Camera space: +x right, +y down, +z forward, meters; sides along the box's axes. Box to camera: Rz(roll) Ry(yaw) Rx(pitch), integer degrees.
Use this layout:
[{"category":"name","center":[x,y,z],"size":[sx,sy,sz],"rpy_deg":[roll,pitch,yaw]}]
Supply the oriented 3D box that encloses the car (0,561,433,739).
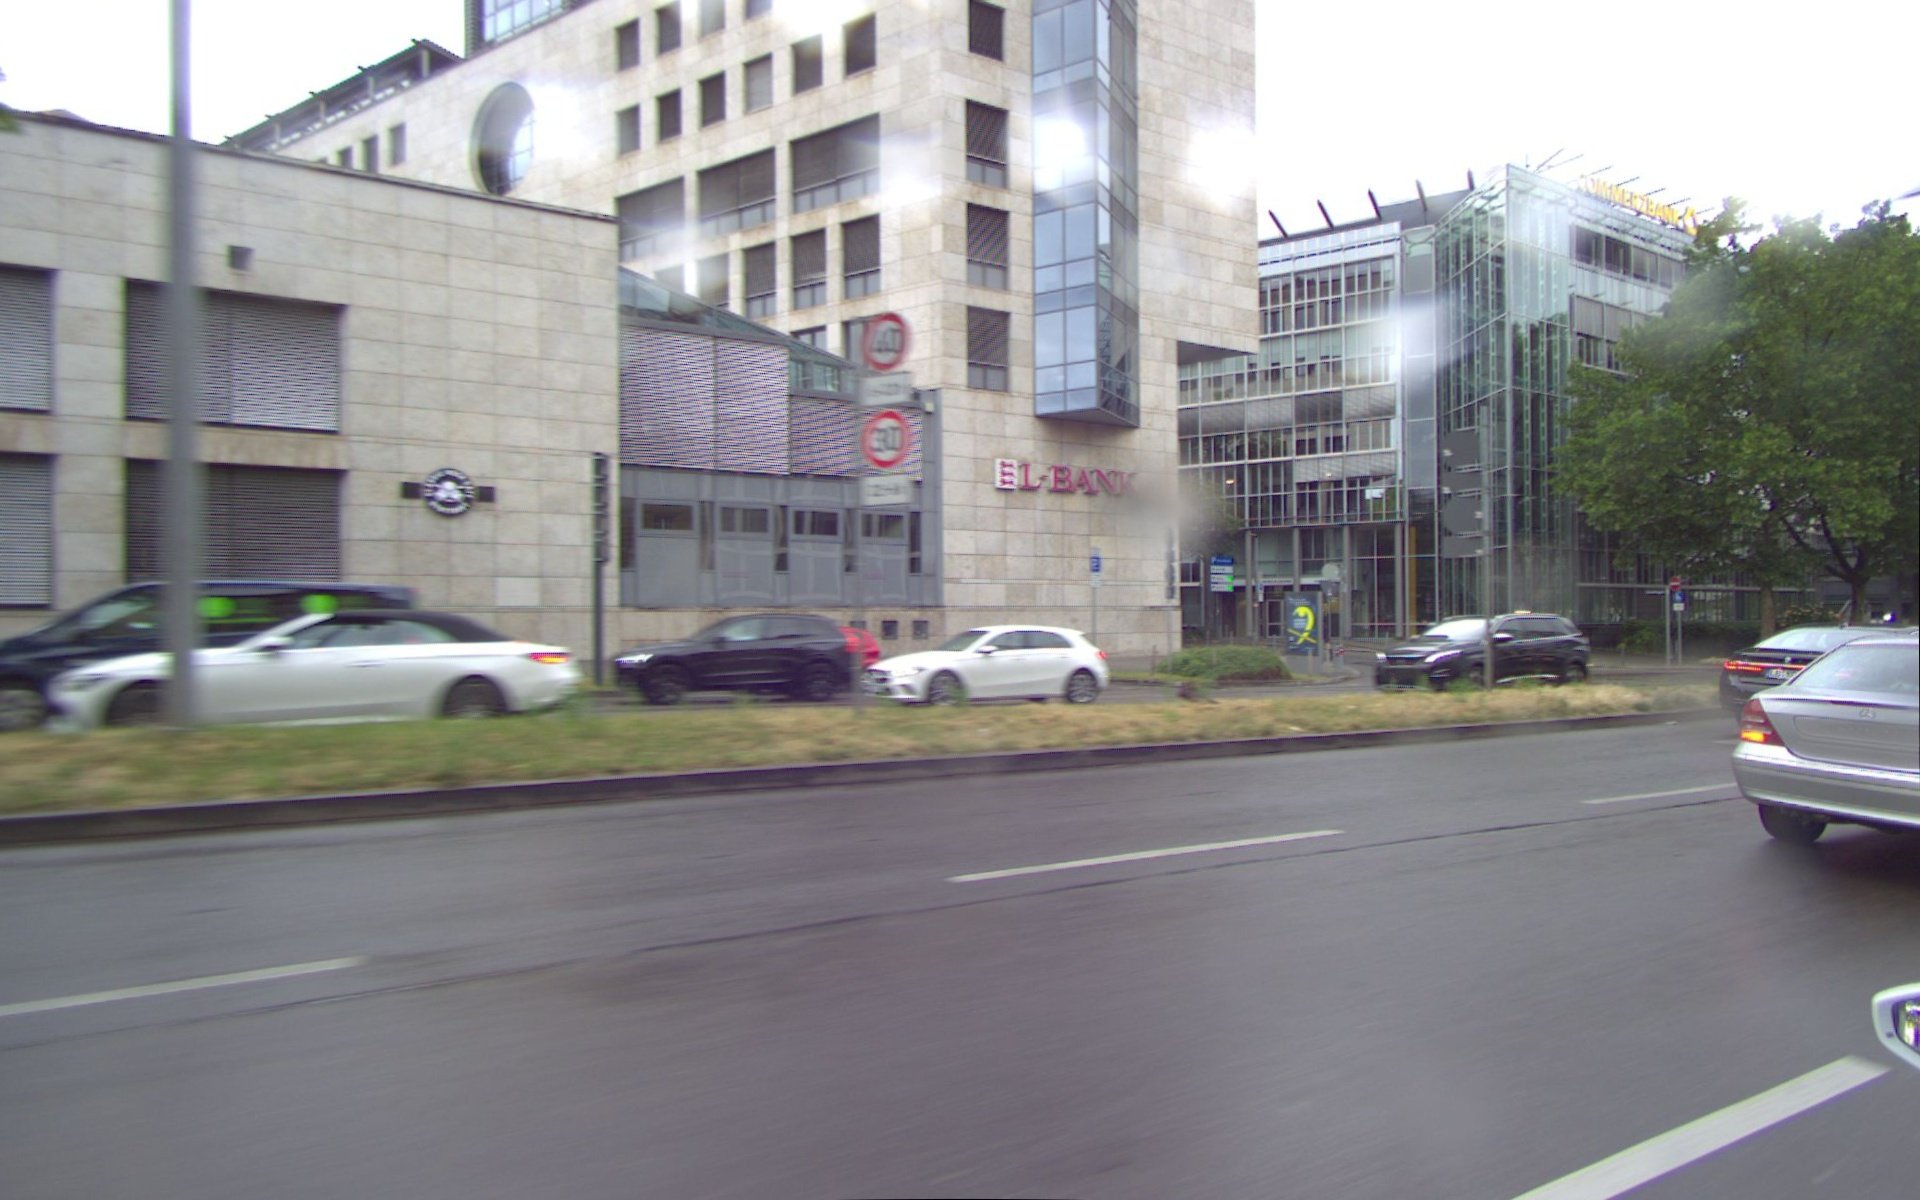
[{"category":"car","center":[-9.769,0.638,13.039],"size":[5.035,2.028,1.826],"rpy_deg":[2,-2,-25]}]

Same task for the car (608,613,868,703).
[{"category":"car","center":[-4.212,1.086,19.150],"size":[4.577,1.552,1.722],"rpy_deg":[2,-2,-25]}]

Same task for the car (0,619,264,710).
[{"category":"car","center":[-14.835,1.073,17.063],"size":[4.639,1.434,1.743],"rpy_deg":[2,-2,-24]}]

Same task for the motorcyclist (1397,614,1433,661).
[{"category":"motorcyclist","center":[12.412,1.018,27.409],"size":[0.611,1.255,0.672],"rpy_deg":[1,-1,-26]}]

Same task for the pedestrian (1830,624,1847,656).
[{"category":"pedestrian","center":[50.566,2.311,57.844],"size":[0.504,1.832,0.603],"rpy_deg":[0,0,-28]}]

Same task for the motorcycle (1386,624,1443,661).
[{"category":"motorcycle","center":[12.378,1.146,27.365],"size":[1.378,0.983,0.692],"rpy_deg":[1,-1,-27]}]

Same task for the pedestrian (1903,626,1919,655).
[{"category":"pedestrian","center":[62.077,2.627,65.490],"size":[0.610,1.832,0.720],"rpy_deg":[0,0,-28]}]

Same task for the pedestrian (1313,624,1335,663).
[{"category":"pedestrian","center":[15.410,1.837,42.508],"size":[0.659,1.591,0.817],"rpy_deg":[0,0,40]}]

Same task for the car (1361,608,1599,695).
[{"category":"car","center":[9.746,0.951,18.752],"size":[4.524,1.456,1.693],"rpy_deg":[2,-2,-28]}]

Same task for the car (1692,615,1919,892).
[{"category":"car","center":[7.005,0.921,6.765],"size":[4.307,1.498,1.665],"rpy_deg":[2,-1,-29]}]

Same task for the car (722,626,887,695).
[{"category":"car","center":[-3.468,1.336,22.384],"size":[3.353,1.434,1.588],"rpy_deg":[2,-2,-24]}]

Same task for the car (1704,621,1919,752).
[{"category":"car","center":[12.351,1.057,13.679],"size":[4.821,1.498,1.863],"rpy_deg":[1,-1,-31]}]

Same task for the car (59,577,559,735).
[{"category":"car","center":[-6.758,0.599,11.044],"size":[4.254,1.461,1.855],"rpy_deg":[2,-2,-25]}]

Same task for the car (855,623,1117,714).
[{"category":"car","center":[0.478,1.170,17.775],"size":[4.336,1.451,1.722],"rpy_deg":[2,-2,-25]}]
